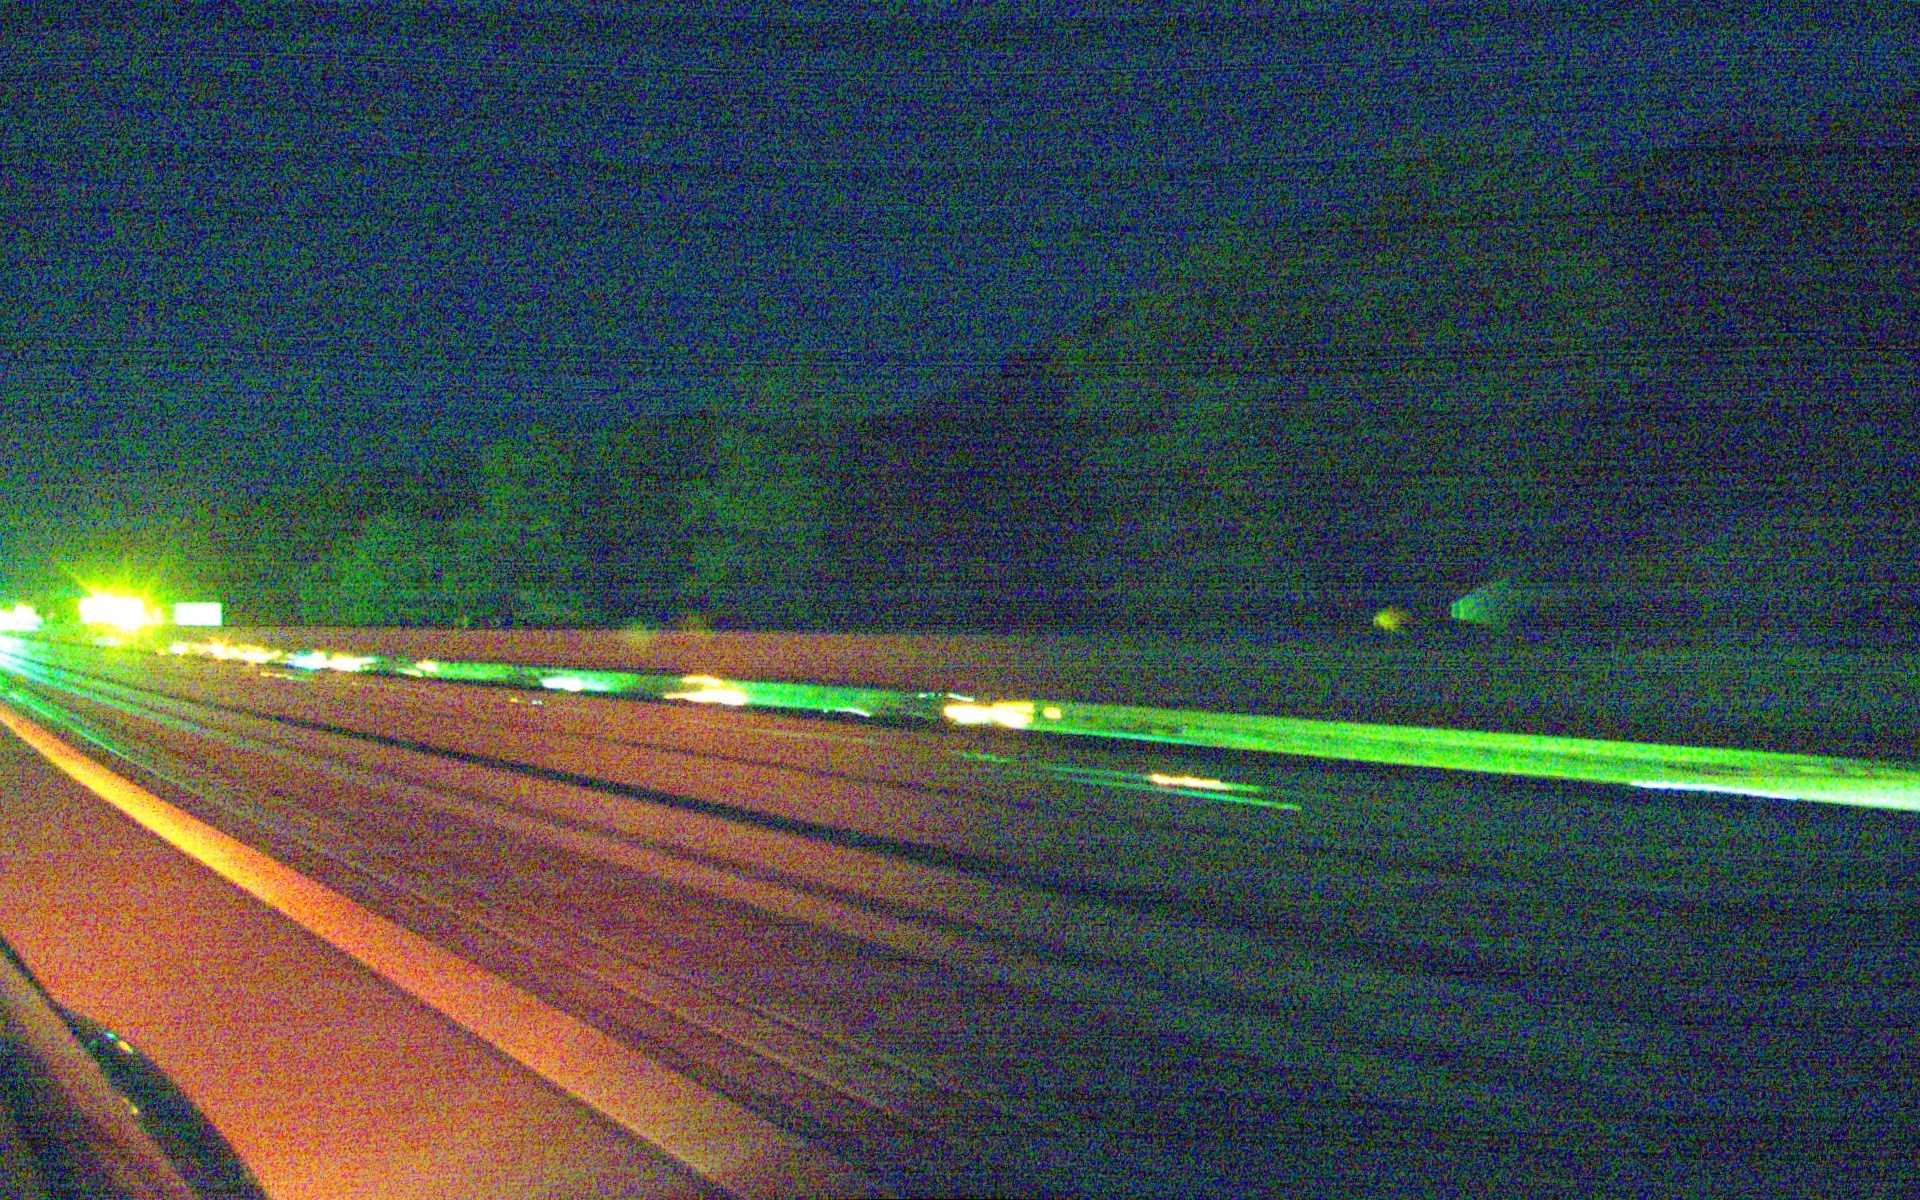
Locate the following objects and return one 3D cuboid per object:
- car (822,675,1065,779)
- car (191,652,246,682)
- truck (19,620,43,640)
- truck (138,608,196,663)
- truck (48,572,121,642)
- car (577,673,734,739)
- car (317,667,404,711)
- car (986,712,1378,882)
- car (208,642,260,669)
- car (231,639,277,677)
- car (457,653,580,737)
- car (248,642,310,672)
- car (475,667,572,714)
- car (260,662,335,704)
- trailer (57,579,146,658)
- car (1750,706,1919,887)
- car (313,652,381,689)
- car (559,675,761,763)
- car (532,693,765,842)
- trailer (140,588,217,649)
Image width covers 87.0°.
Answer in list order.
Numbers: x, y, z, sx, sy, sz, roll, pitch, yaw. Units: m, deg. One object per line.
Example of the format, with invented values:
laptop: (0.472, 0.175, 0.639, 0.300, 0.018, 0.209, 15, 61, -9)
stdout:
car: (-0.439, 2.507, 20.966, 4.917, 1.647, 2.053, -1, -1, 41)
car: (-38.725, 3.463, 52.830, 1.779, 1.427, 4.003, 2, -3, -44)
truck: (-173.417, 5.562, 188.863, 8.548, 3.618, 2.626, -2, -1, 42)
truck: (-65.829, 2.852, 83.982, 3.051, 4.348, 6.288, -2, 1, -44)
truck: (-49.914, 0.385, 57.620, 6.759, 3.771, 2.574, -1, 1, 45)
car: (-8.550, 2.872, 28.219, 4.707, 1.464, 1.884, -1, -1, 39)
car: (-20.928, 3.066, 35.276, 1.699, 1.313, 4.003, 2, -3, -44)
car: (2.774, 2.402, 13.327, 4.707, 1.464, 1.884, -1, -1, 39)
car: (-46.114, 3.493, 64.248, 4.404, 1.502, 1.971, -2, -1, 44)
car: (-41.094, 3.330, 58.856, 1.865, 2.029, 4.006, 0, -1, -40)
car: (-11.760, 2.456, 26.911, 3.322, 2.029, 1.604, -1, -3, 38)
car: (-37.584, 3.100, 55.853, 4.404, 1.502, 1.971, -2, -2, 44)
car: (-15.130, 3.080, 34.972, 4.002, 1.409, 1.678, -2, -4, 45)
car: (-25.614, 3.171, 39.081, 1.779, 1.427, 4.005, 3, -3, -42)
trailer: (-44.838, 0.906, 52.710, 10.130, 3.741, 2.506, -1, 1, 44)
car: (11.251, 2.195, 11.124, 3.996, 1.729, 1.735, -1, -1, 39)
car: (-29.675, 3.365, 48.968, 1.970, 1.560, 4.142, 0, -1, -44)
car: (-6.557, 2.474, 21.845, 4.707, 1.464, 1.884, -1, -1, 39)
car: (-5.060, 2.529, 16.173, 3.999, 1.872, 1.714, -2, -4, 42)
trailer: (-61.473, 1.364, 79.396, 3.112, 4.348, 14.822, -2, 1, -44)
